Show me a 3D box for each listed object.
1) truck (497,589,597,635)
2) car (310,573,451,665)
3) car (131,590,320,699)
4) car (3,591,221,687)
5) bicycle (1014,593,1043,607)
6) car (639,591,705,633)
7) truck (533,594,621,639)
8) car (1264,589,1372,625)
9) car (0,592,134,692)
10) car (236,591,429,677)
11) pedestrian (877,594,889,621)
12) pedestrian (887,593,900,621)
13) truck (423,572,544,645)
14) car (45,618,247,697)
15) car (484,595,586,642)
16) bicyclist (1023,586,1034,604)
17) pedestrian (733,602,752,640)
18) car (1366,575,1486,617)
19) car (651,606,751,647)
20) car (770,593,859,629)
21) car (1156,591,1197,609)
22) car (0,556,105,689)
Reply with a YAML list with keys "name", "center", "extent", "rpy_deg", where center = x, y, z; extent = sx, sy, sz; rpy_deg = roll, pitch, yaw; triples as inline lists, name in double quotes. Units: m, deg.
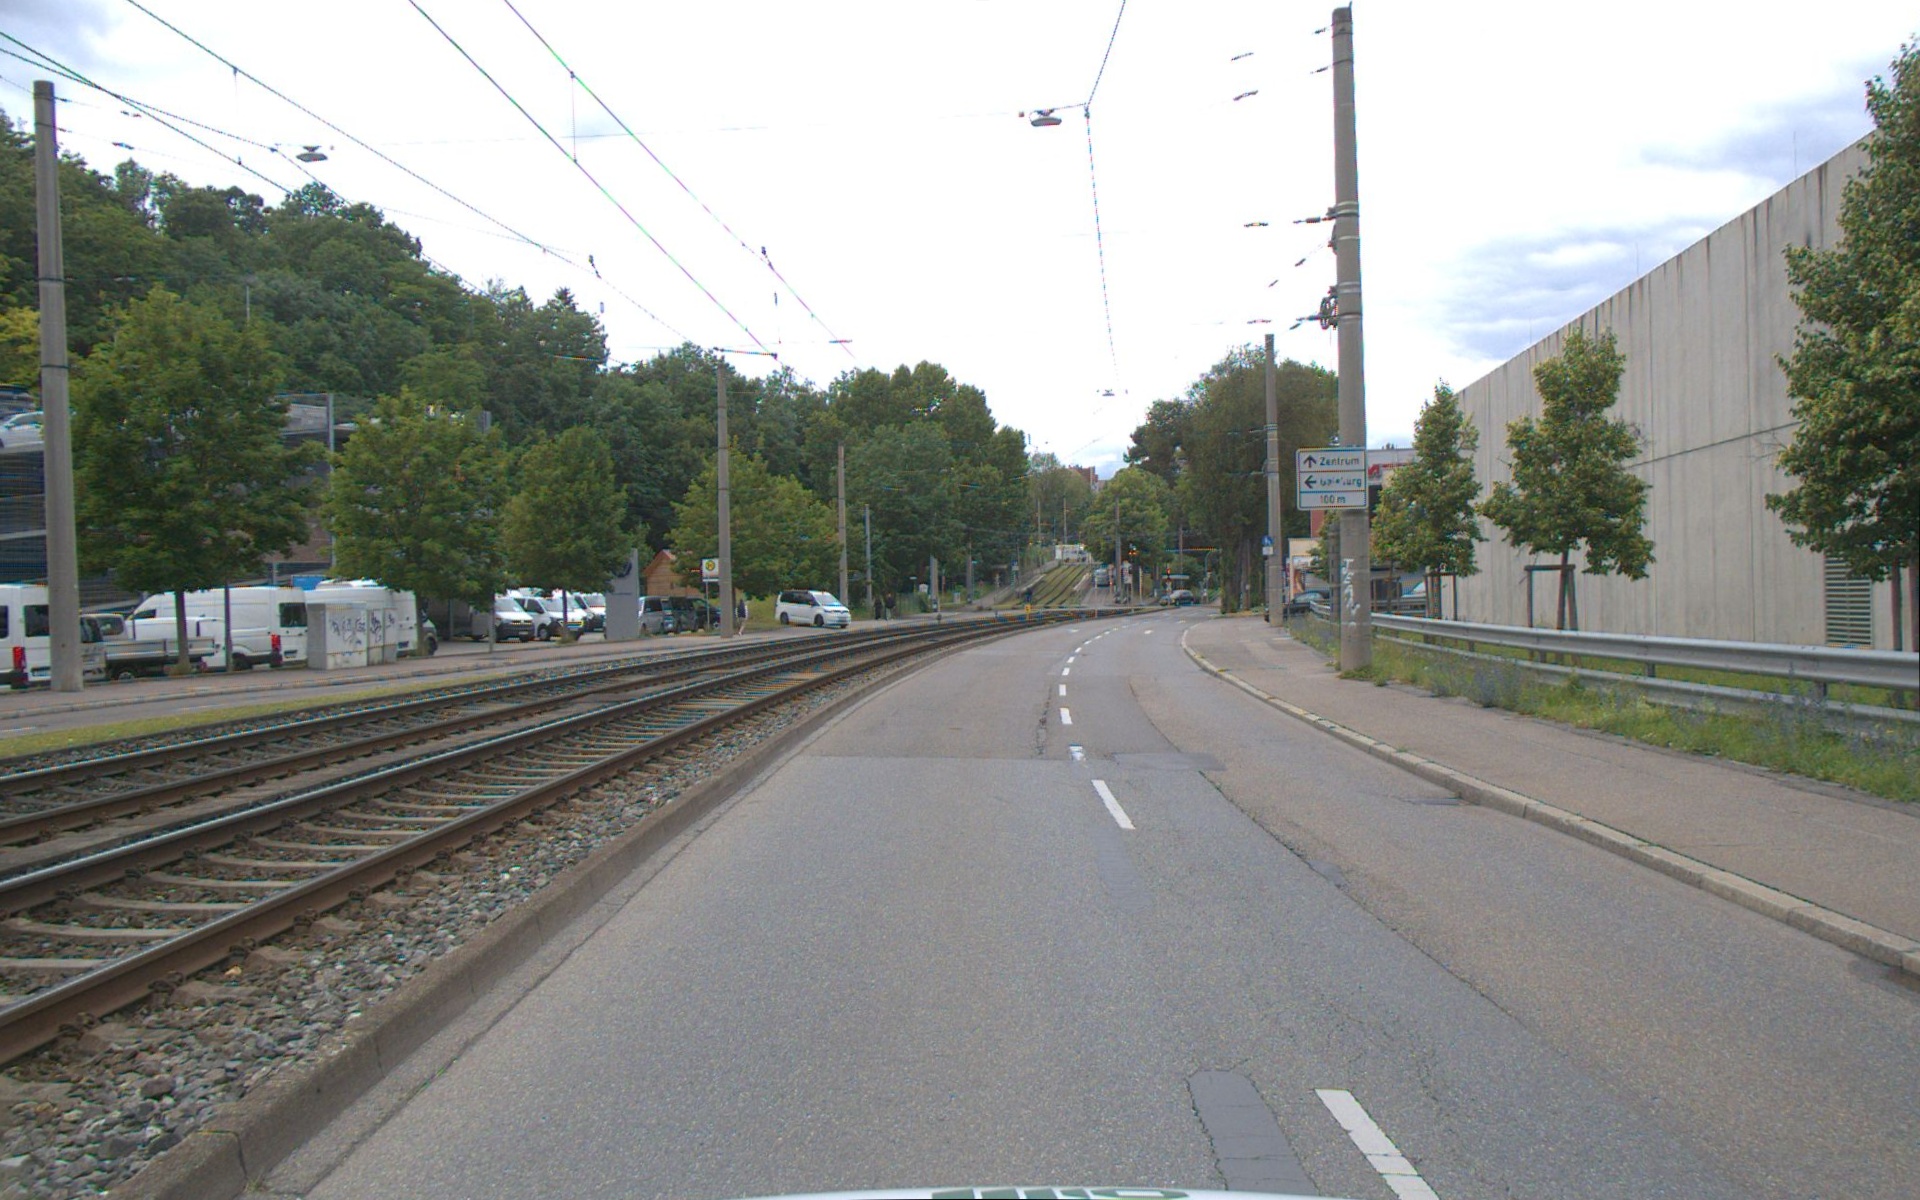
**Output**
- name: "truck"
  center: [-24.281, 0.716, 97.170]
  extent: [5.657, 2.633, 2.462]
  rpy_deg: [-1, 0, 33]
- name: "car"
  center: [-20.467, 0.612, 58.764]
  extent: [2.063, 3.072, 5.942]
  rpy_deg: [-1, 0, 10]
- name: "car"
  center: [-20.206, 1.189, 45.635]
  extent: [4.274, 2.868, 2.005]
  rpy_deg: [-1, 0, 4]
- name: "car"
  center: [-20.673, 0.930, 40.447]
  extent: [4.274, 2.211, 2.005]
  rpy_deg: [-1, 0, 4]
- name: "bicycle"
  center: [7.125, 0.034, 171.650]
  extent: [2.923, 1.367, 0.827]
  rpy_deg: [-1, 0, 12]
- name: "car"
  center: [-14.797, 0.597, 85.372]
  extent: [1.951, 2.049, 5.134]
  rpy_deg: [-1, 0, 6]
- name: "truck"
  center: [-23.141, 1.017, 99.897]
  extent: [4.966, 2.633, 2.462]
  rpy_deg: [-1, 0, 33]
- name: "car"
  center: [15.272, 0.310, 70.673]
  extent: [4.150, 1.468, 1.756]
  rpy_deg: [0, 1, 37]
- name: "car"
  center: [-21.795, 0.967, 38.324]
  extent: [4.274, 2.211, 2.005]
  rpy_deg: [-1, 0, 4]
- name: "car"
  center: [-20.229, 1.082, 53.447]
  extent: [5.356, 2.647, 2.248]
  rpy_deg: [-1, 0, 8]
- name: "pedestrian"
  center: [-5.119, 0.512, 110.481]
  extent: [0.614, 1.743, 0.856]
  rpy_deg: [1, 1, 11]
- name: "pedestrian"
  center: [-4.413, 0.462, 110.345]
  extent: [0.662, 1.844, 0.856]
  rpy_deg: [1, 1, 11]
- name: "truck"
  center: [-21.187, 0.386, 73.373]
  extent: [5.823, 3.139, 2.111]
  rpy_deg: [-1, 0, 38]
- name: "car"
  center: [-21.286, 1.484, 43.364]
  extent: [4.274, 1.944, 2.005]
  rpy_deg: [-1, 0, 4]
- name: "car"
  center: [-19.399, 0.864, 75.426]
  extent: [4.635, 2.049, 1.993]
  rpy_deg: [-1, 0, 35]
- name: "bicyclist"
  center: [7.098, -0.497, 171.657]
  extent: [1.026, 1.881, 0.824]
  rpy_deg: [-1, 0, 12]
- name: "pedestrian"
  center: [-9.908, 0.950, 75.381]
  extent: [0.703, 1.684, 1.042]
  rpy_deg: [1, 1, 1]
- name: "car"
  center: [19.707, -0.169, 70.008]
  extent: [4.435, 1.575, 2.151]
  rpy_deg: [-2, -1, -17]
- name: "car"
  center: [-14.090, 1.406, 90.031]
  extent: [5.000, 2.049, 2.146]
  rpy_deg: [-1, 0, -29]
- name: "car"
  center: [-8.143, 0.601, 92.464]
  extent: [4.984, 1.921, 2.153]
  rpy_deg: [2, 0, 43]
- name: "car"
  center: [21.066, -0.019, 160.640]
  extent: [1.664, 1.559, 4.227]
  rpy_deg: [-6, -3, 44]
- name: "car"
  center: [-21.311, 0.490, 35.444]
  extent: [4.861, 2.745, 2.116]
  rpy_deg: [-1, 0, 4]
